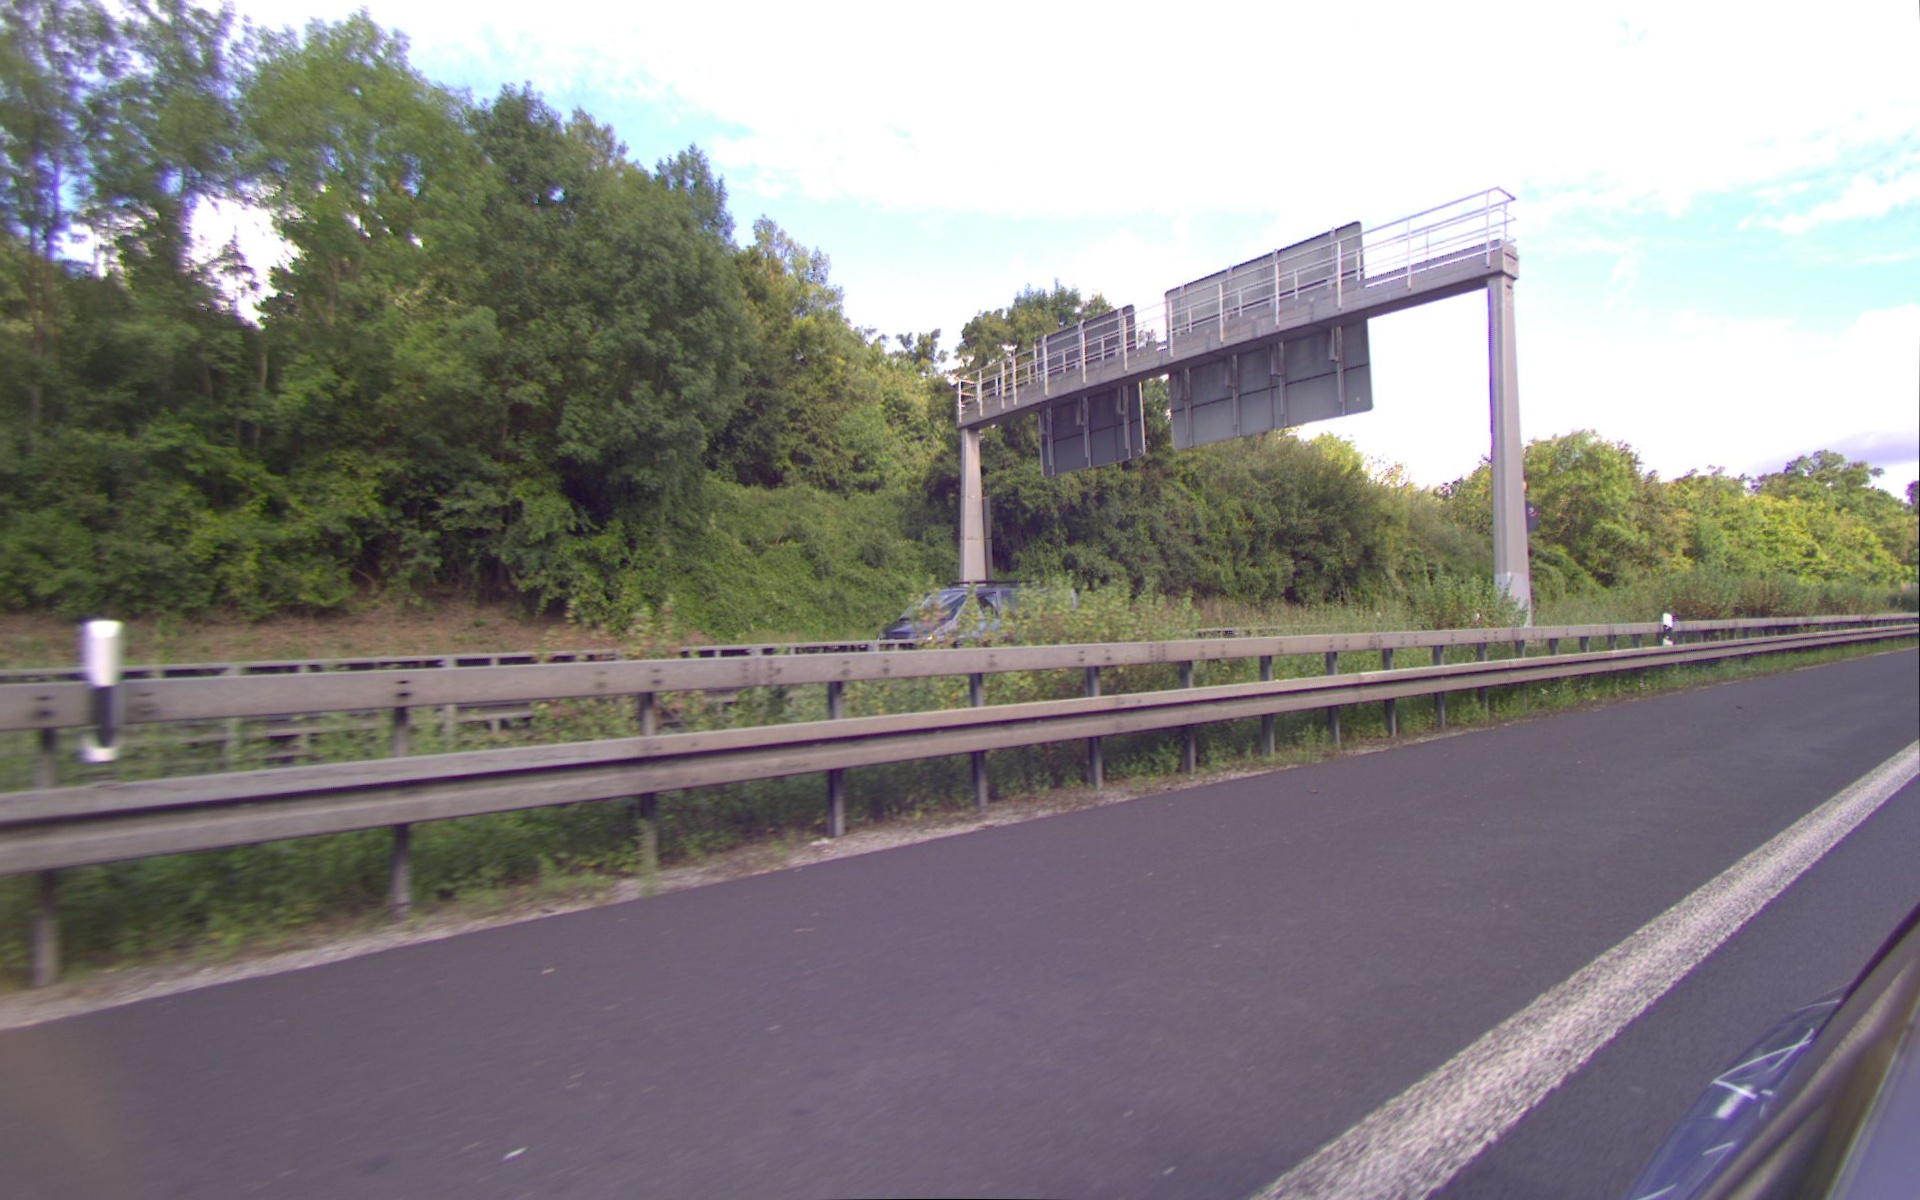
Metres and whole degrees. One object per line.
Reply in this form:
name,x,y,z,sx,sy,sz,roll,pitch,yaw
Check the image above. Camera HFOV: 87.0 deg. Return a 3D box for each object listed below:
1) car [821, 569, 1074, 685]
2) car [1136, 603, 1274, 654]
car,-0.158,0.465,20.038,4.820,2.039,1.998,0,0,-39
car,8.056,0.867,33.082,4.781,1.529,1.772,0,0,-37
